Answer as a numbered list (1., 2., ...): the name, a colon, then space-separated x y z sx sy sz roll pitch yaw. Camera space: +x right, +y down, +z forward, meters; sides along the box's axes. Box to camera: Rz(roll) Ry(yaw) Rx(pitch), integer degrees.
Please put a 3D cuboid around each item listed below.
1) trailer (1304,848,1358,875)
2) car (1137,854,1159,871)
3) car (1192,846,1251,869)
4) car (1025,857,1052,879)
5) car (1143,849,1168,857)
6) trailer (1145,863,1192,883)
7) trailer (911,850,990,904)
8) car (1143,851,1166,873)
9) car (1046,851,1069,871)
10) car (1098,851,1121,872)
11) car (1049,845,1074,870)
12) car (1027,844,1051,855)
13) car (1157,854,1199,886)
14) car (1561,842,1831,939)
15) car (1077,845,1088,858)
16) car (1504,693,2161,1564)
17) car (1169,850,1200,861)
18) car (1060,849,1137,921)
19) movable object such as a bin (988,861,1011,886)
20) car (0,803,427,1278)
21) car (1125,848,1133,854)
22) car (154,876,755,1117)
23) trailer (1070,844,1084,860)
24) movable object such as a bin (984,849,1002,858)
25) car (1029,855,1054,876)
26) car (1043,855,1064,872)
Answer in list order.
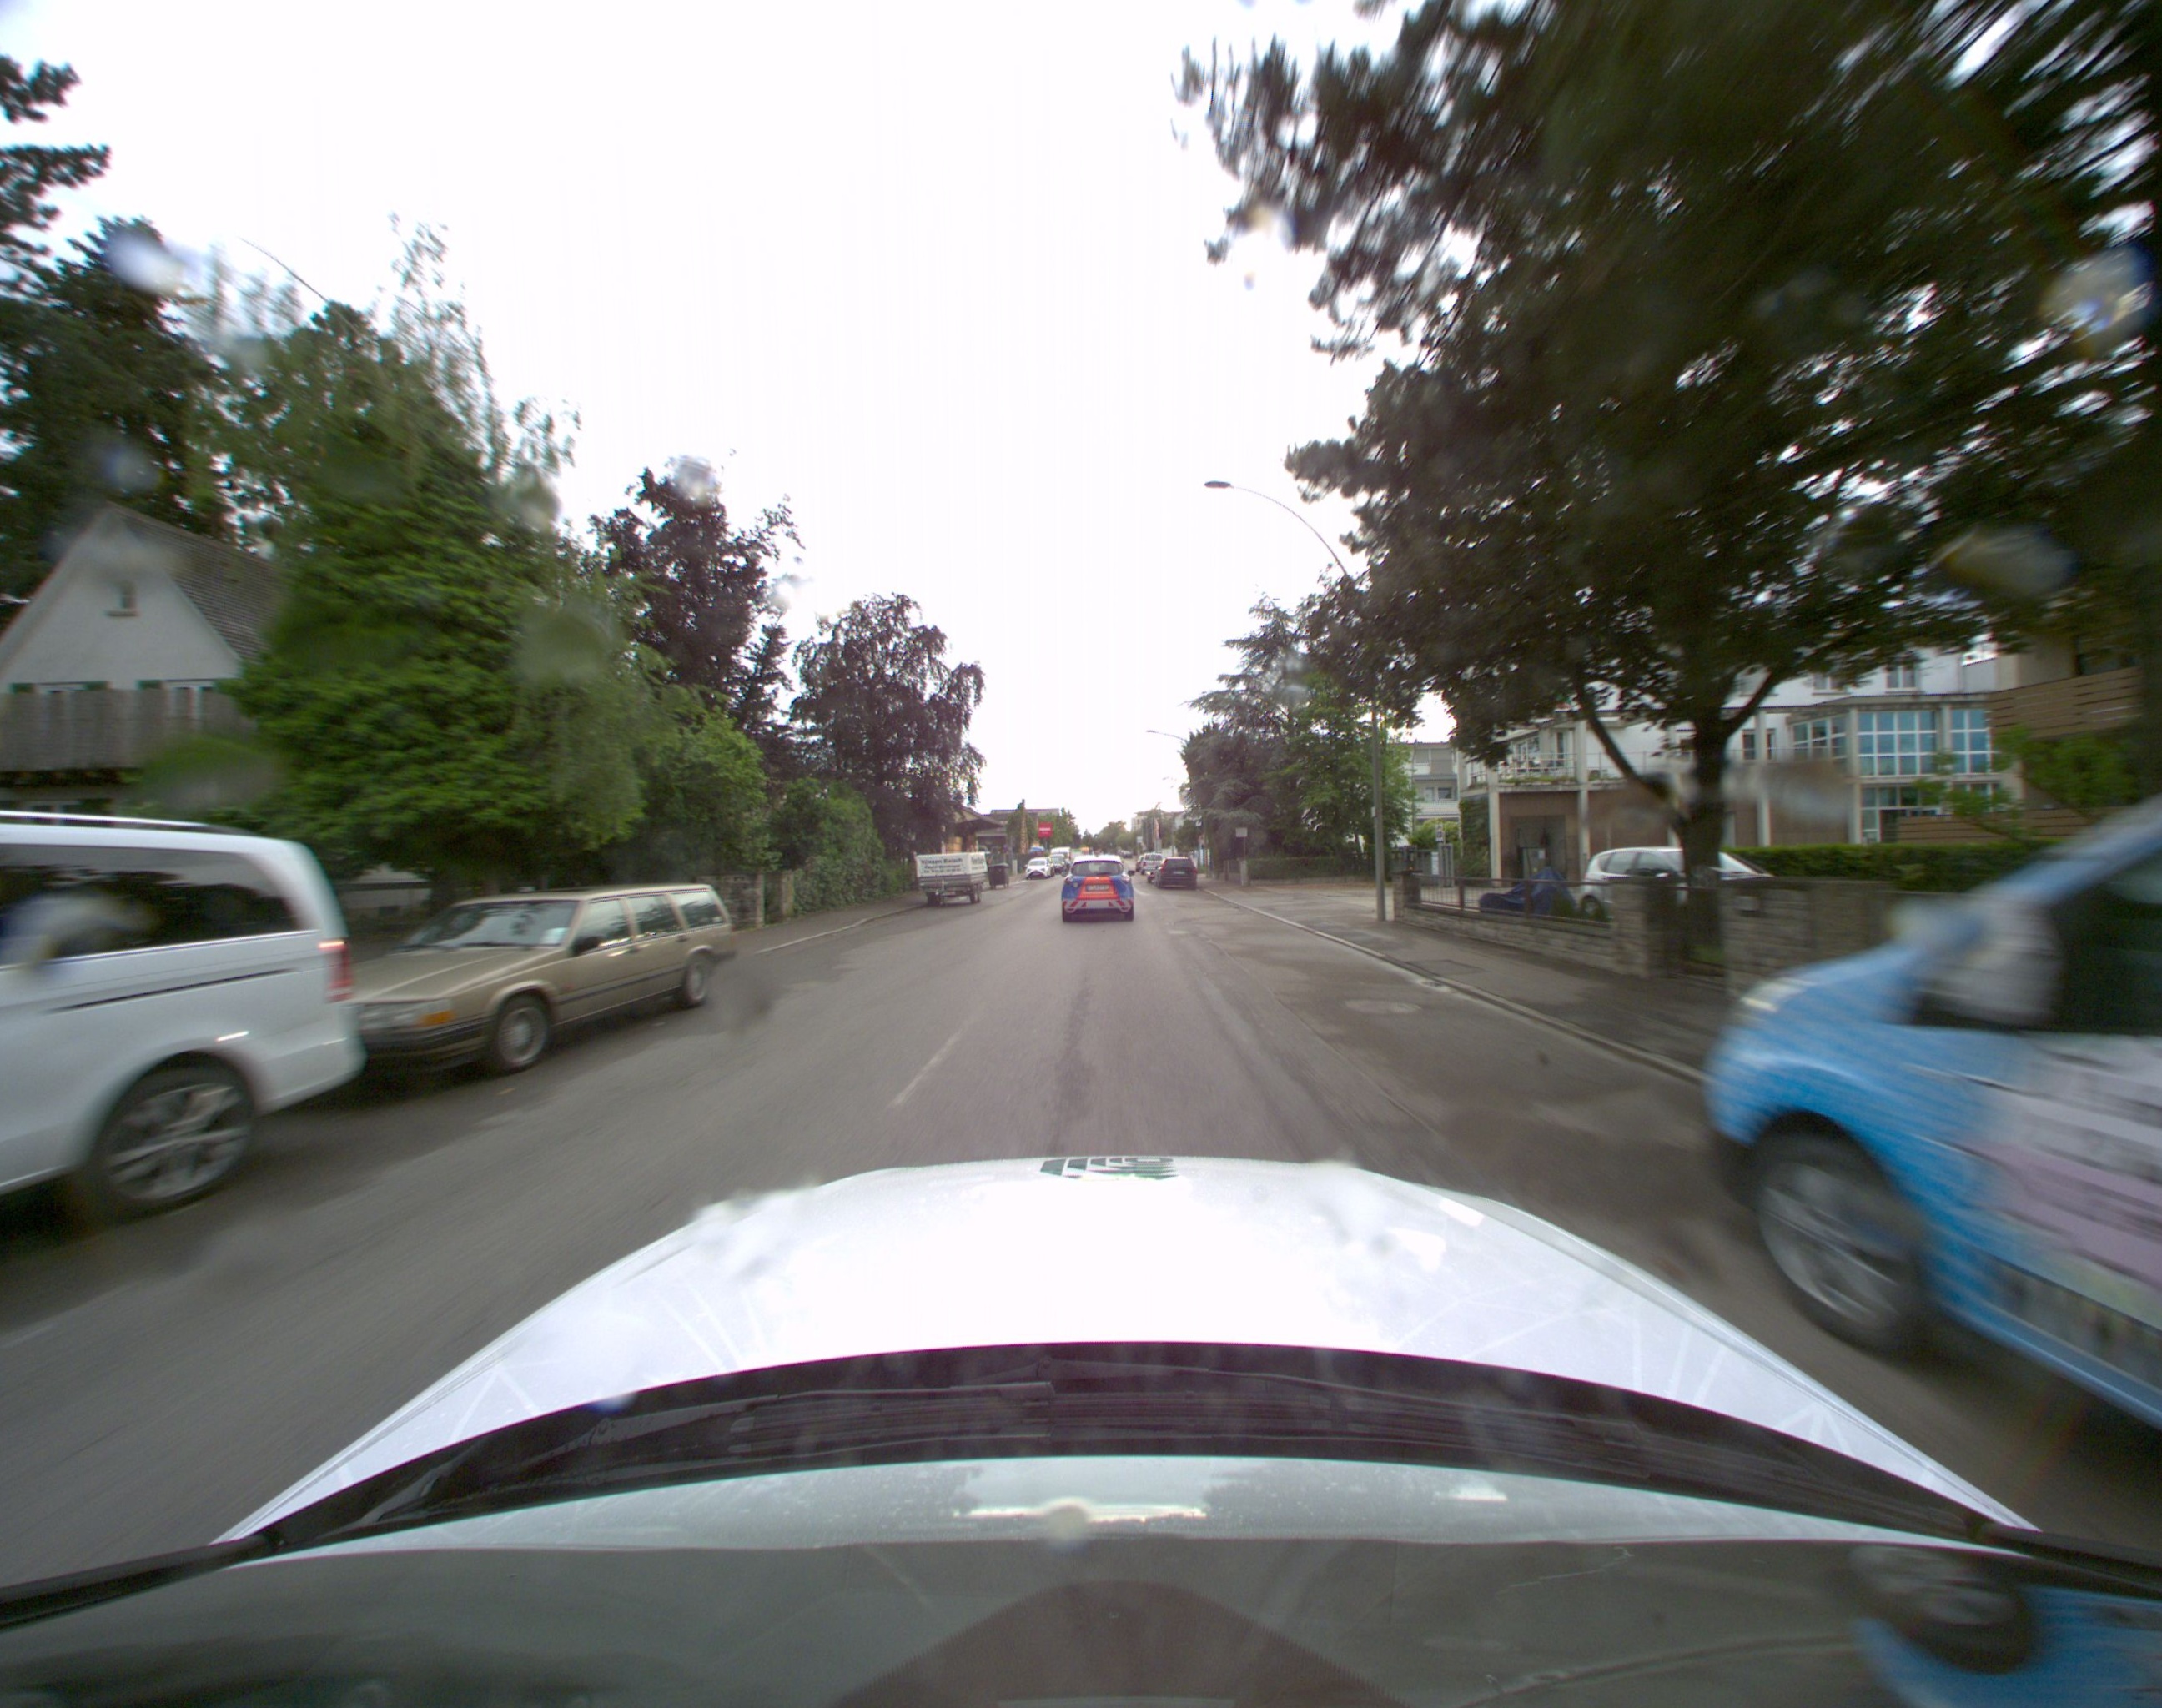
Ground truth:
1. trailer: 15.287 0.448 50.031 1.763 1.520 4.804 -1 0 0
2. car: 5.953 0.763 73.032 1.732 1.466 4.548 0 0 2
3. car: 11.756 0.301 68.532 4.713 1.886 2.001 0 0 2
4. car: -3.132 1.045 60.709 1.610 1.509 3.663 -2 0 3
5. car: 13.375 -0.150 145.861 4.322 1.475 1.903 0 0 1
6. trailer: 4.759 1.009 45.237 2.165 0.897 6.640 0 1 2
7. trailer: -4.602 0.765 29.424 1.922 1.765 4.551 -1 0 3
8. car: 5.679 0.607 63.170 1.731 1.621 4.378 0 0 4
9. car: -2.307 0.681 81.132 1.762 1.768 4.449 -5 0 3
10. car: 2.127 0.543 61.184 1.644 1.521 4.000 0 0 0
11. car: -2.042 0.328 86.923 2.150 2.427 6.463 -4 0 2
12. car: -8.048 -0.806 155.591 4.289 2.014 2.064 0 0 2
13. car: 4.551 0.739 38.726 1.732 1.433 4.653 0 0 4
14. car: 10.978 0.580 14.977 1.740 1.488 4.114 -1 0 -3
15. car: 0.299 -0.474 154.458 2.117 2.537 6.022 -1 0 1
16. car: 3.155 0.588 1.905 1.724 1.828 5.558 1 0 3
17. car: 13.839 0.142 109.403 3.973 1.430 1.631 -1 0 0
18. car: 0.447 0.711 20.406 1.725 1.630 3.495 -1 0 1
19. movable object such as a bin: -4.387 1.033 43.963 1.096 1.310 1.426 0 0 2
20. car: -5.300 0.780 2.659 1.886 1.892 5.213 -2 0 2
21. car: 10.347 -0.696 176.212 1.584 1.341 4.093 -1 0 0
22. car: -5.227 1.028 7.969 1.809 1.427 4.984 -2 0 3
23. trailer: -0.621 -0.326 124.230 1.806 2.314 4.732 -3 0 1
24. movable object such as a bin: -17.823 -0.111 164.992 3.416 1.759 1.997 0 0 -5
25. car: -3.167 0.897 65.472 1.655 1.584 3.917 -3 0 1
26. car: -2.464 0.882 74.689 1.656 1.448 4.317 -3 0 0
